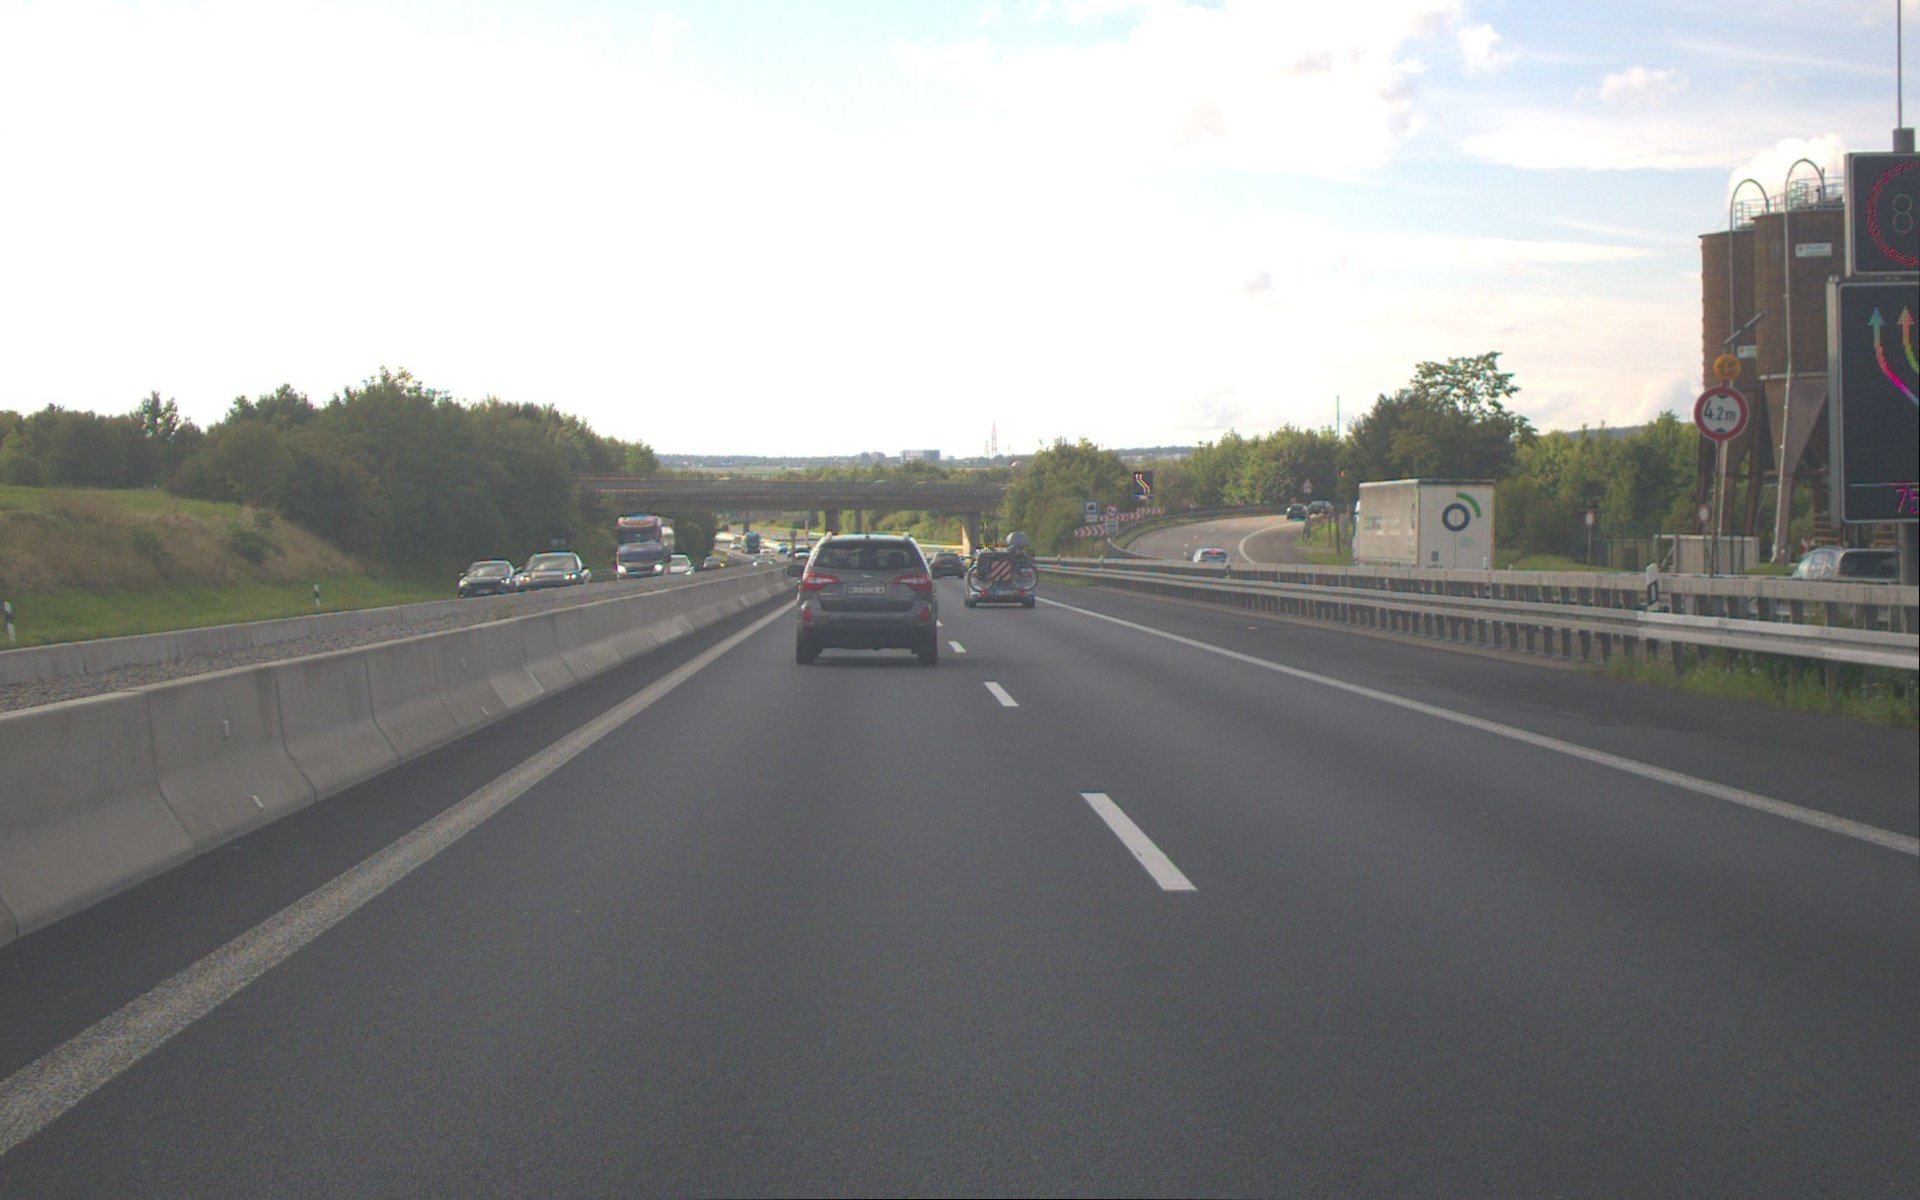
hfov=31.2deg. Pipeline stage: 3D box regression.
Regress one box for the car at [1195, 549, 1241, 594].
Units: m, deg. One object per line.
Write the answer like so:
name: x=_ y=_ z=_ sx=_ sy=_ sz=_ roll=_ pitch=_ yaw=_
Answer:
car: x=11.967 y=-1.339 z=159.480 sx=1.994 sy=2.007 sz=4.000 roll=-2 pitch=1 yaw=3

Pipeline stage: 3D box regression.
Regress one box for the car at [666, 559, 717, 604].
car: x=-12.279 y=-0.865 z=157.286 sx=1.993 sy=2.007 sz=4.678 roll=-1 pitch=1 yaw=0

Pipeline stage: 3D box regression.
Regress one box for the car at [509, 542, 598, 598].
car: x=-12.069 y=-0.897 z=102.333 sx=1.993 sy=1.567 sz=5.365 roll=-2 pitch=1 yaw=0

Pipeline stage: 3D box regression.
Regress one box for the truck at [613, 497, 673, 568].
truck: x=-18.082 y=-3.824 z=196.487 sx=2.737 sy=3.911 sz=6.901 roll=-2 pitch=1 yaw=0

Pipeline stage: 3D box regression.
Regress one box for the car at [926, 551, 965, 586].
car: x=-0.782 y=-1.704 z=185.937 sx=1.975 sy=1.773 sz=4.120 roll=-2 pitch=1 yaw=-1

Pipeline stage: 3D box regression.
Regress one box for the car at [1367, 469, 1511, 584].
car: x=16.241 y=-2.473 z=117.142 sx=3.576 sy=3.664 sz=7.549 roll=-2 pitch=1 yaw=-1

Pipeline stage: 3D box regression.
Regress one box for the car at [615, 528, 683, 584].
car: x=-11.672 y=-1.664 z=129.185 sx=1.993 sy=2.007 sz=5.841 roll=-2 pitch=1 yaw=0

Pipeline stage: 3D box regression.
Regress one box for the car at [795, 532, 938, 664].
car: x=-1.209 y=-0.049 z=45.831 sx=1.750 sy=1.624 sz=3.609 roll=-2 pitch=1 yaw=0

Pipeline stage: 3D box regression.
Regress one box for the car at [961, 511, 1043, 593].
car: x=1.093 y=-1.267 z=91.583 sx=1.993 sy=2.073 sz=4.000 roll=-2 pitch=1 yaw=-1

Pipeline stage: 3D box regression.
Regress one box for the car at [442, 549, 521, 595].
car: x=-16.209 y=-0.956 z=116.597 sx=1.993 sy=1.473 sz=4.692 roll=-2 pitch=1 yaw=0
